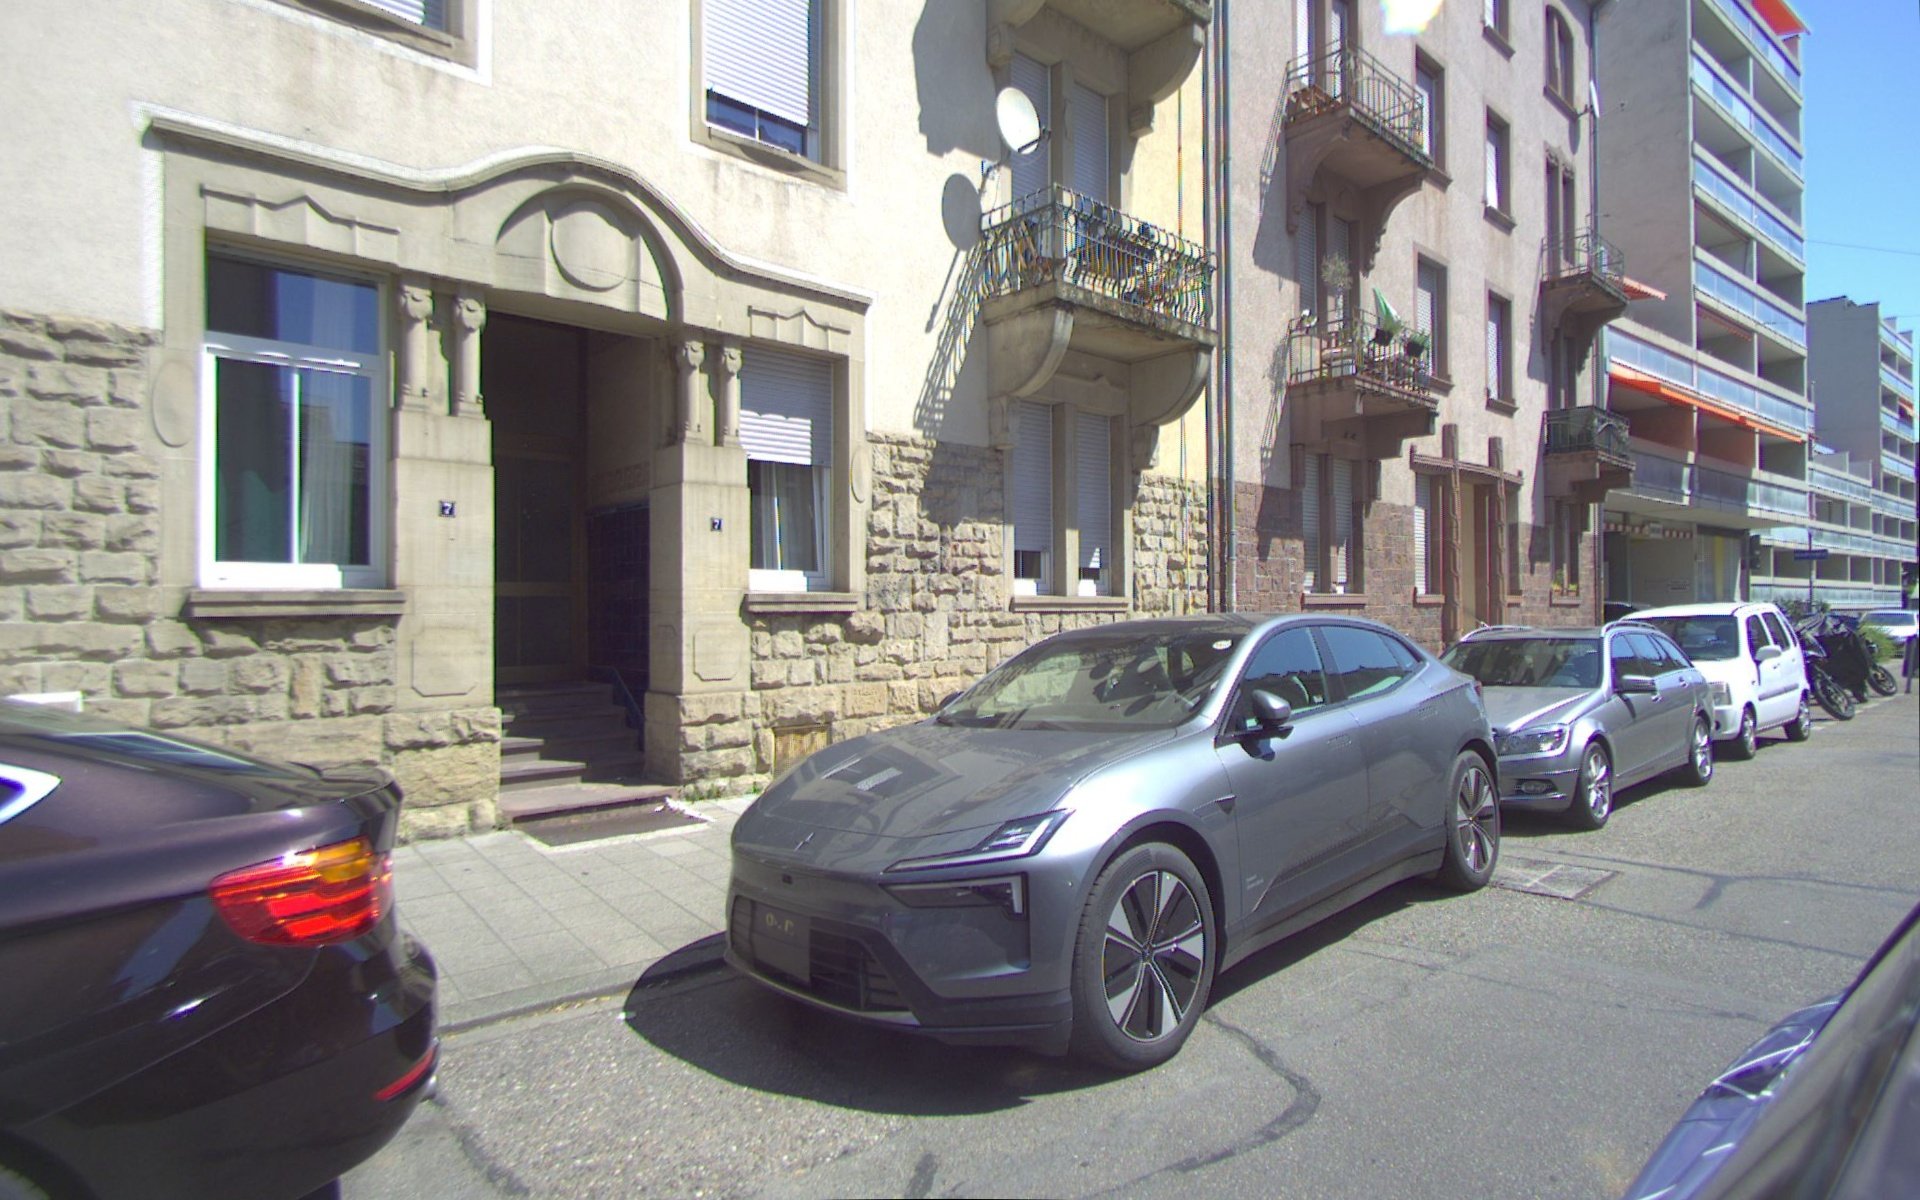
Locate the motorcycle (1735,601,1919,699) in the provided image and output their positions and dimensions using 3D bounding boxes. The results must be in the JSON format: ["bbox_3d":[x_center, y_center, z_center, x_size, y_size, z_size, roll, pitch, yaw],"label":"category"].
[{"bbox_3d":[14.127,0.811,16.497,2.158,1.448,0.732,-4,-3,9],"label":"motorcycle"}]

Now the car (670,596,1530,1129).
[{"bbox_3d":[1.042,0.724,4.962,4.414,1.450,1.825,0,-1,-43],"label":"car"}]

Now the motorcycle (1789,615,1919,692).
[{"bbox_3d":[16.178,0.930,17.841,2.287,1.216,0.675,-4,-3,9],"label":"motorcycle"}]

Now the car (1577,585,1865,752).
[{"bbox_3d":[8.976,0.651,11.834,4.016,1.642,1.653,-1,0,-37],"label":"car"}]

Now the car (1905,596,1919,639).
[{"bbox_3d":[37.547,0.654,38.658,3.930,1.571,1.716,-1,0,-41],"label":"car"}]

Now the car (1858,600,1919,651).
[{"bbox_3d":[30.207,0.765,32.343,3.835,1.512,1.752,-1,0,-41],"label":"car"}]

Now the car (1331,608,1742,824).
[{"bbox_3d":[5.118,0.780,8.728,4.276,1.375,1.789,0,0,-41],"label":"car"}]

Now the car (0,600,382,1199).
[{"bbox_3d":[-3.491,0.764,1.254,4.587,1.476,1.739,-1,0,-41],"label":"car"}]

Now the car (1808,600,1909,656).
[{"bbox_3d":[26.390,0.764,29.691,3.835,1.512,1.752,-1,0,-41],"label":"car"}]

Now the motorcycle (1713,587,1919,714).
[{"bbox_3d":[12.114,0.713,14.285,2.157,1.643,0.763,-3,-3,9],"label":"motorcycle"}]
